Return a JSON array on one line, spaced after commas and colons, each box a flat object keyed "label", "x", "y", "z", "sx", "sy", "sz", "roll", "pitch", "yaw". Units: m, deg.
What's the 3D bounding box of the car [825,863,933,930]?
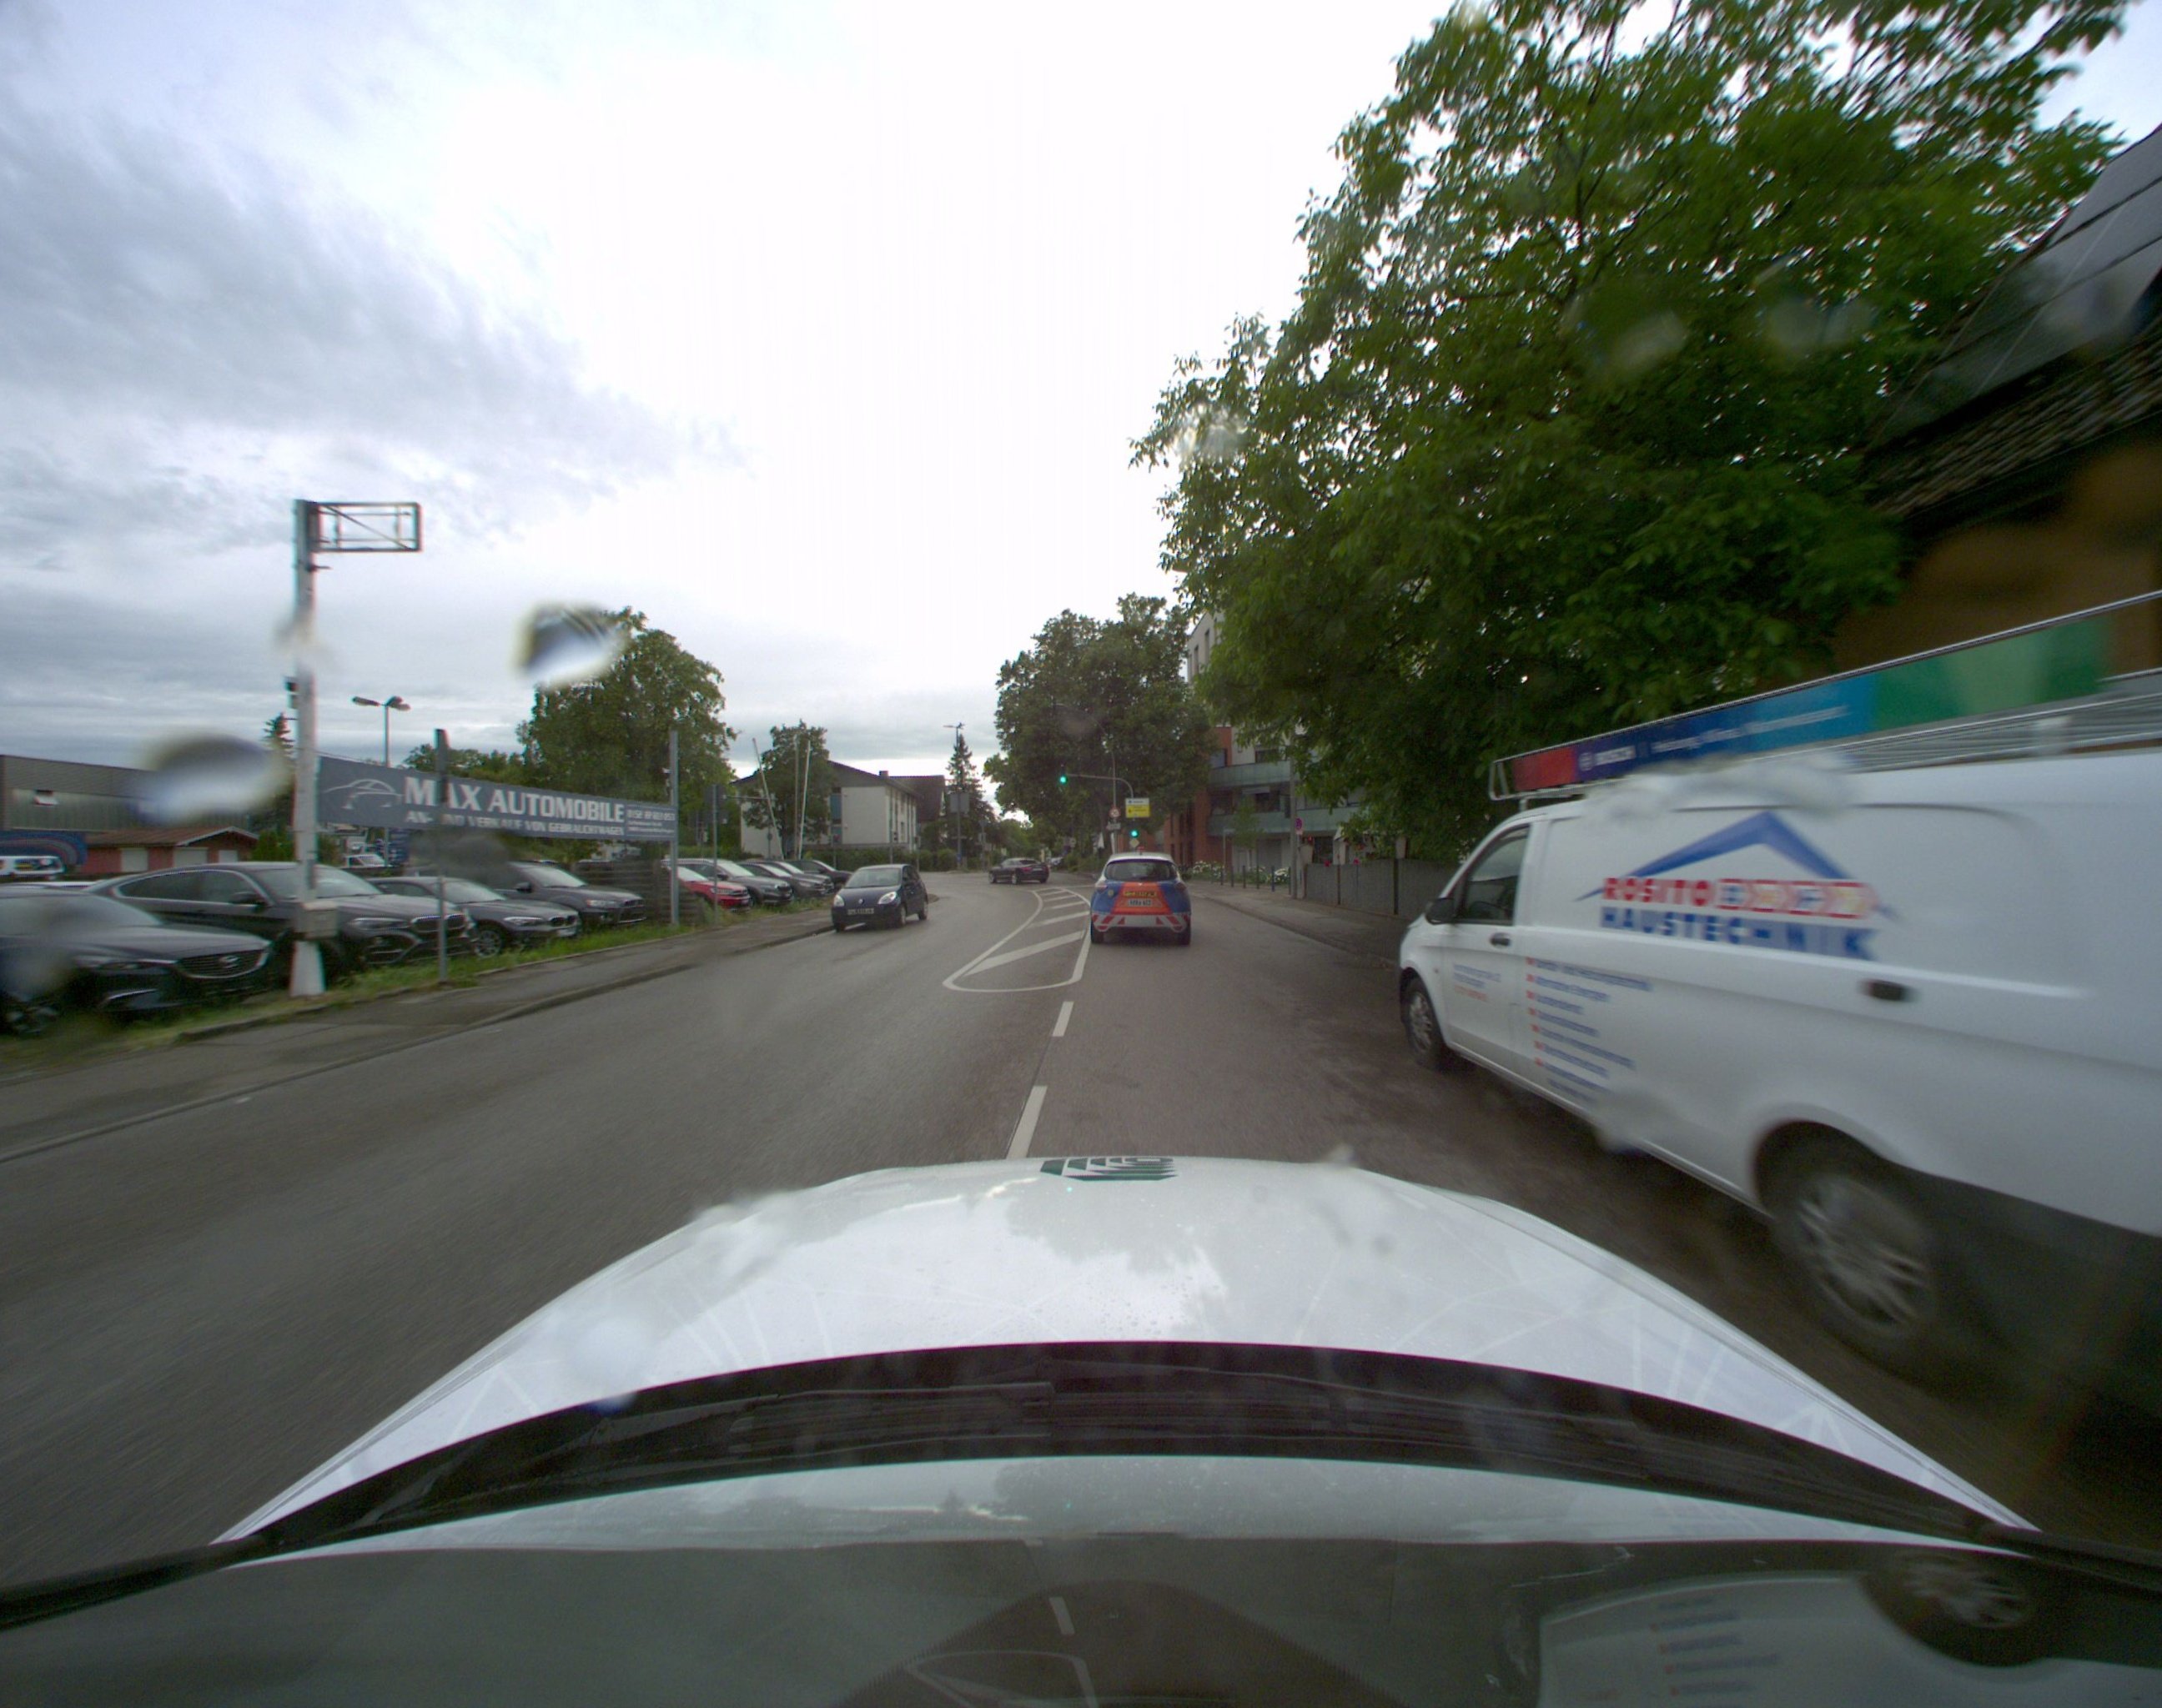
[{"label": "car", "x": -4.862, "y": 0.975, "z": 20.117, "sx": 1.620, "sy": 1.433, "sz": 3.685, "roll": -2, "pitch": 0, "yaw": 2}]

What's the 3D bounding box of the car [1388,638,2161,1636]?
[{"label": "car", "x": 3.188, "y": 0.542, "z": 3.979, "sx": 1.771, "sy": 2.029, "sz": 4.757, "roll": 0, "pitch": 1, "yaw": 2}]

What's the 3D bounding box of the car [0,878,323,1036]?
[{"label": "car", "x": -11.397, "y": 1.062, "z": 8.916, "sx": 4.333, "sy": 1.464, "sz": 1.941, "roll": -1, "pitch": 0, "yaw": 0}]

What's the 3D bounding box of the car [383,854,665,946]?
[{"label": "car", "x": -11.168, "y": 0.879, "z": 16.573, "sx": 4.333, "sy": 1.690, "sz": 1.959, "roll": -1, "pitch": 0, "yaw": 0}]

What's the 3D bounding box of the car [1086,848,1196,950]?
[{"label": "car", "x": 1.036, "y": 0.717, "z": 15.191, "sx": 1.739, "sy": 1.581, "sz": 4.002, "roll": -2, "pitch": 0, "yaw": 2}]

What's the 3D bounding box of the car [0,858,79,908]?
[{"label": "car", "x": -43.368, "y": 1.125, "z": 32.271, "sx": 4.431, "sy": 1.870, "sz": 1.996, "roll": 0, "pitch": 1, "yaw": -6}]

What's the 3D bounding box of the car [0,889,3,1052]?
[{"label": "car", "x": -11.716, "y": 1.087, "z": 6.413, "sx": 3.973, "sy": 1.464, "sz": 1.839, "roll": -1, "pitch": 0, "yaw": 0}]

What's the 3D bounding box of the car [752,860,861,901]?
[{"label": "car", "x": -11.062, "y": 1.050, "z": 33.049, "sx": 3.947, "sy": 1.530, "sz": 1.617, "roll": 0, "pitch": 1, "yaw": -11}]

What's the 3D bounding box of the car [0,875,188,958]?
[{"label": "car", "x": -20.107, "y": 1.192, "z": 15.526, "sx": 1.685, "sy": 1.398, "sz": 4.000, "roll": -2, "pitch": 0, "yaw": 0}]

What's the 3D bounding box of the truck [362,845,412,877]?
[{"label": "truck", "x": -58.032, "y": 0.541, "z": 68.072, "sx": 5.487, "sy": 2.539, "sz": 2.013, "roll": 1, "pitch": 1, "yaw": 37}]

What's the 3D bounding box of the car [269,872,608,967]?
[{"label": "car", "x": -11.035, "y": 1.085, "z": 14.249, "sx": 4.333, "sy": 1.432, "sz": 1.959, "roll": -1, "pitch": 0, "yaw": 0}]

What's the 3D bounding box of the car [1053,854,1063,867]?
[{"label": "car", "x": -3.796, "y": 1.071, "z": 133.082, "sx": 1.639, "sy": 2.017, "sz": 3.711, "roll": -1, "pitch": 0, "yaw": -3}]

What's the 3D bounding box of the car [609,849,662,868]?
[{"label": "car", "x": -43.433, "y": 0.415, "z": 79.473, "sx": 1.974, "sy": 1.723, "sz": 4.026, "roll": 0, "pitch": 1, "yaw": 37}]

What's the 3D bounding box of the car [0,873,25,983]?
[{"label": "car", "x": -15.842, "y": 1.058, "z": 9.534, "sx": 1.685, "sy": 1.530, "sz": 4.000, "roll": -2, "pitch": 0, "yaw": 0}]

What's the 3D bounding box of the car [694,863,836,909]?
[{"label": "car", "x": -10.455, "y": 1.041, "z": 27.112, "sx": 3.971, "sy": 1.441, "sz": 1.804, "roll": 0, "pitch": 0, "yaw": 2}]

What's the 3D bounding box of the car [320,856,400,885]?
[{"label": "car", "x": -51.071, "y": 1.173, "z": 57.748, "sx": 3.969, "sy": 1.994, "sz": 2.003, "roll": 0, "pitch": 1, "yaw": 4}]

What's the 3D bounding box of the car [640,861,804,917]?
[{"label": "car", "x": -10.401, "y": 0.994, "z": 23.800, "sx": 3.971, "sy": 1.544, "sz": 1.804, "roll": 0, "pitch": 0, "yaw": 2}]

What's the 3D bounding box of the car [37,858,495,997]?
[{"label": "car", "x": -11.189, "y": 0.942, "z": 11.469, "sx": 4.333, "sy": 1.691, "sz": 2.058, "roll": -1, "pitch": 0, "yaw": 0}]

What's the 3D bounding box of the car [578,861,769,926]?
[{"label": "car", "x": -10.337, "y": 0.983, "z": 20.860, "sx": 3.971, "sy": 1.544, "sz": 1.804, "roll": 0, "pitch": 0, "yaw": 2}]

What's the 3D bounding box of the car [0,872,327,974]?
[{"label": "car", "x": -17.806, "y": 1.182, "z": 15.548, "sx": 1.892, "sy": 1.502, "sz": 5.218, "roll": -2, "pitch": 0, "yaw": 0}]

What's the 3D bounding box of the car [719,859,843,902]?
[{"label": "car", "x": -11.089, "y": 0.956, "z": 30.278, "sx": 3.933, "sy": 1.530, "sz": 1.691, "roll": 0, "pitch": 1, "yaw": 0}]

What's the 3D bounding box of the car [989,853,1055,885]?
[{"label": "car", "x": -3.233, "y": 0.748, "z": 43.945, "sx": 2.006, "sy": 1.574, "sz": 3.962, "roll": 0, "pitch": 1, "yaw": -30}]

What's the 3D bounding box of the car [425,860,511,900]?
[{"label": "car", "x": -26.981, "y": 1.107, "z": 36.019, "sx": 1.711, "sy": 1.555, "sz": 3.978, "roll": 0, "pitch": 1, "yaw": -16}]
